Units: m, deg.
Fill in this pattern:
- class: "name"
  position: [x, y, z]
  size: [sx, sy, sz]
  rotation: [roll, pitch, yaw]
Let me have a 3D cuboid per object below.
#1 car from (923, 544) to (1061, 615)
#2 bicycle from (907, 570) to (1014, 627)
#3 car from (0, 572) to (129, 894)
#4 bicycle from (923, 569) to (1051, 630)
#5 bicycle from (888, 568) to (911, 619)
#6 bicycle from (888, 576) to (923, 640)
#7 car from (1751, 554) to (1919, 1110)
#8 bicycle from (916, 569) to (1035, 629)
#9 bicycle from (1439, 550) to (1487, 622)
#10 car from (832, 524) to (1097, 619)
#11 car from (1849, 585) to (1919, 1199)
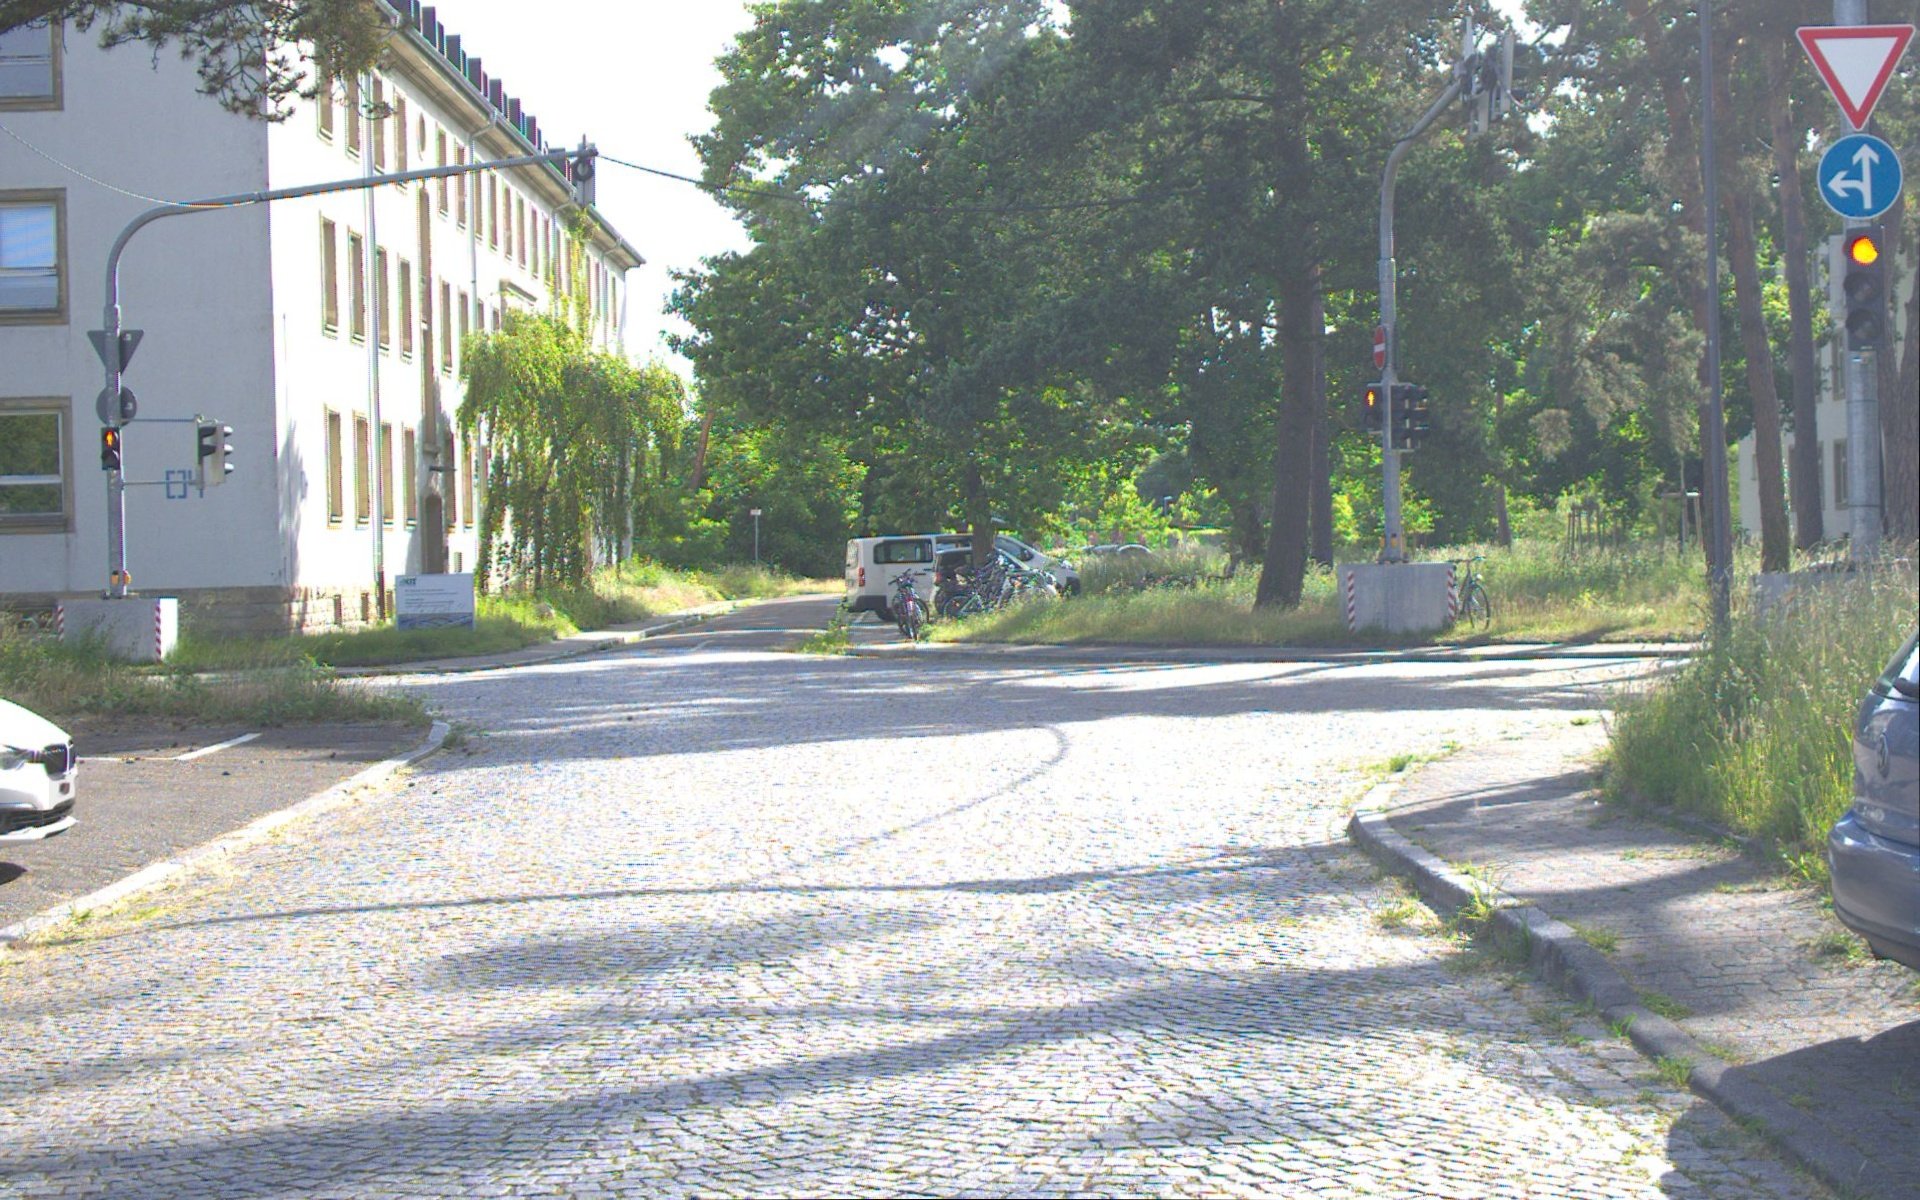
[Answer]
- class: "car"
  position: [0.659, -0.438, 73.158]
  size: [2.781, 1.462, 1.671]
  rotation: [1, 0, -5]
- class: "bicycle"
  position: [0.006, -0.034, 62.157]
  size: [1.837, 1.007, 0.636]
  rotation: [1, 0, -7]
- class: "car"
  position: [-6.440, 0.587, 16.850]
  size: [4.333, 1.463, 1.831]
  rotation: [1, 1, -3]
- class: "bicycle"
  position: [0.454, -0.005, 58.687]
  size: [2.109, 1.007, 0.621]
  rotation: [1, 0, -7]
- class: "bicycle"
  position: [-1.204, -0.127, 68.343]
  size: [0.417, 1.007, 1.483]
  rotation: [1, 0, 0]
- class: "bicycle"
  position: [-0.874, 0.125, 55.016]
  size: [0.467, 1.007, 1.586]
  rotation: [1, 0, -4]
- class: "car"
  position: [4.405, 0.516, 9.772]
  size: [3.882, 1.410, 1.637]
  rotation: [-3, 1, 1]
- class: "bicycle"
  position: [0.273, -0.019, 60.400]
  size: [2.004, 1.007, 0.632]
  rotation: [1, 0, -7]
- class: "bicycle"
  position: [6.814, -0.196, 46.576]
  size: [0.300, 0.957, 1.586]
  rotation: [1, 0, -4]
- class: "car"
  position: [0.102, -0.633, 76.622]
  size: [5.520, 2.007, 2.001]
  rotation: [1, 0, -18]
- class: "car"
  position: [4.337, 0.590, 7.031]
  size: [4.559, 1.410, 1.637]
  rotation: [-3, 1, 1]
